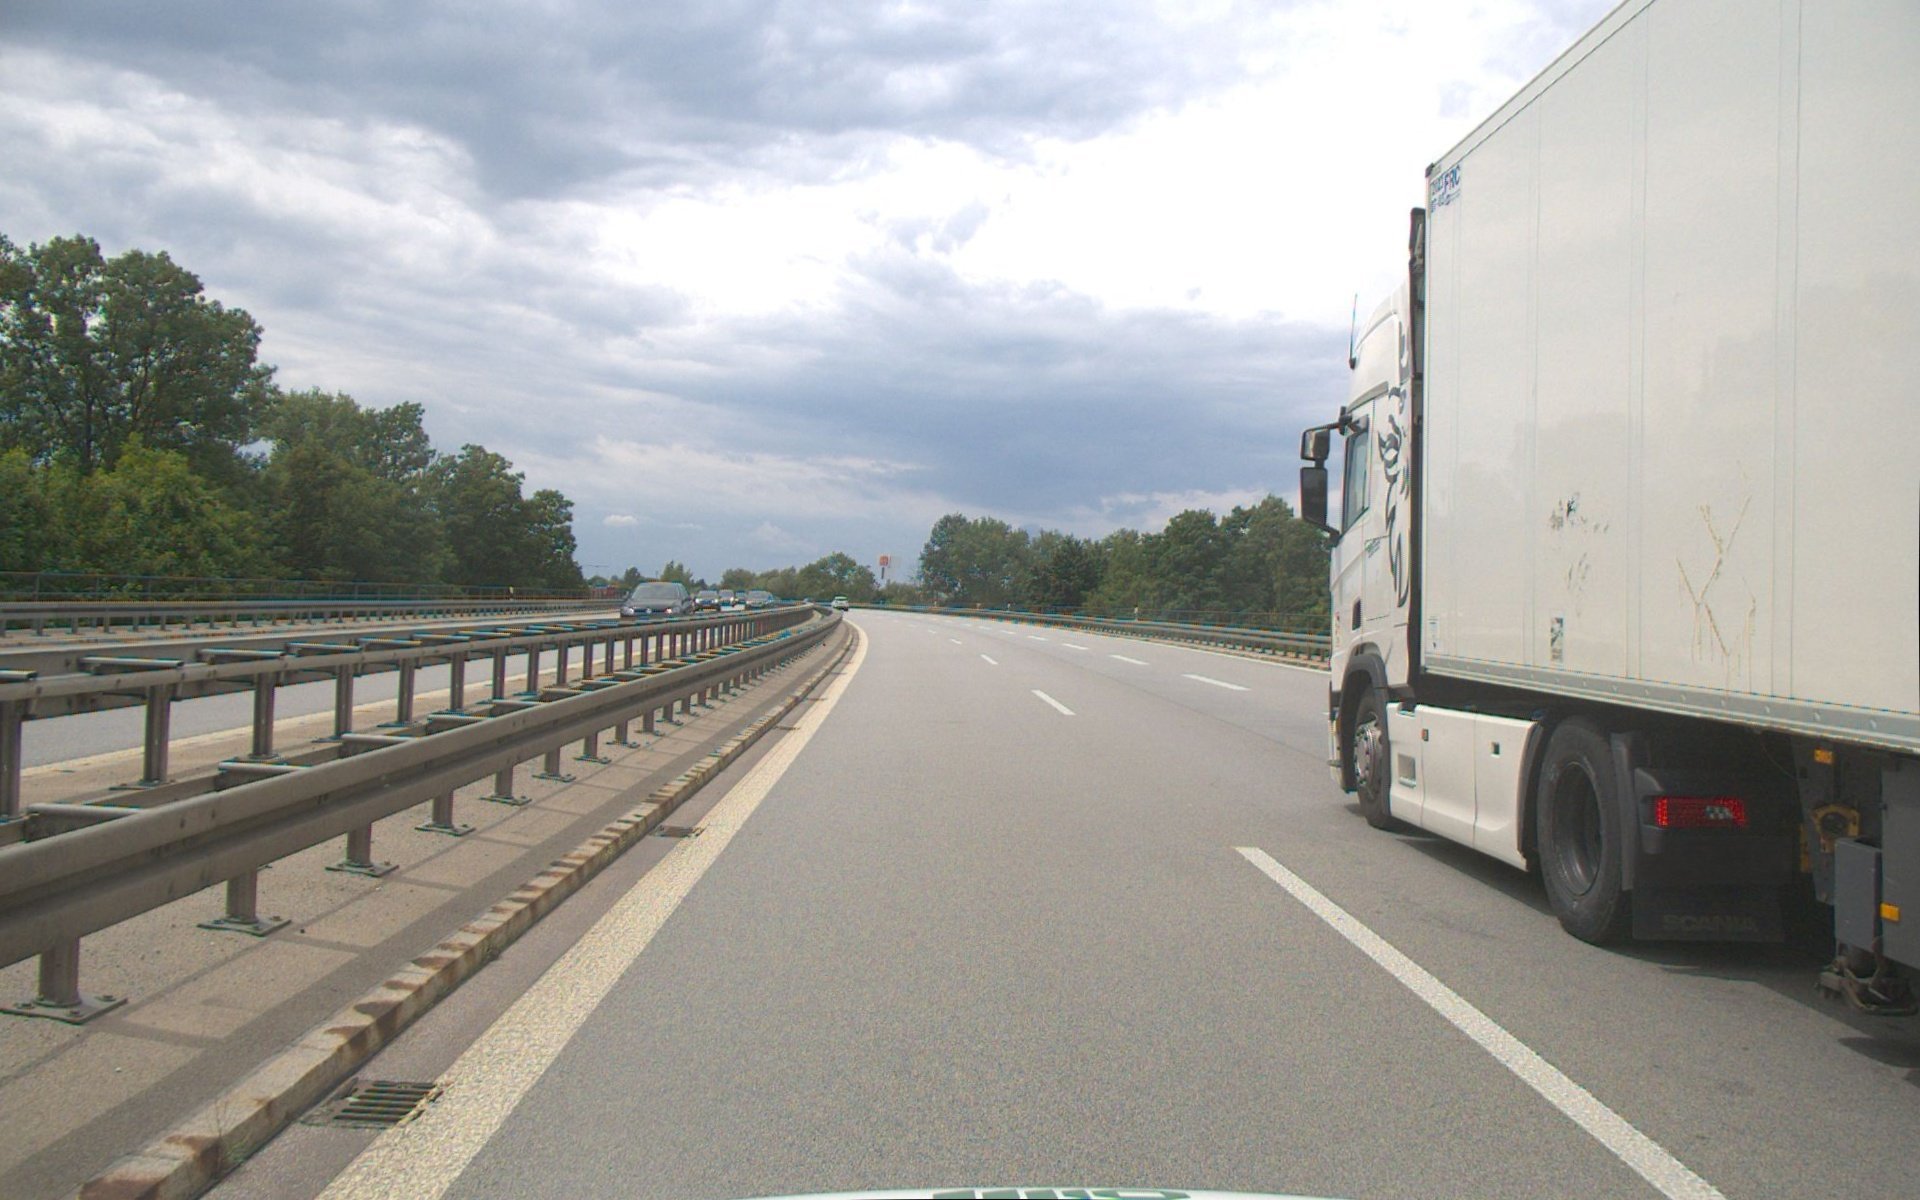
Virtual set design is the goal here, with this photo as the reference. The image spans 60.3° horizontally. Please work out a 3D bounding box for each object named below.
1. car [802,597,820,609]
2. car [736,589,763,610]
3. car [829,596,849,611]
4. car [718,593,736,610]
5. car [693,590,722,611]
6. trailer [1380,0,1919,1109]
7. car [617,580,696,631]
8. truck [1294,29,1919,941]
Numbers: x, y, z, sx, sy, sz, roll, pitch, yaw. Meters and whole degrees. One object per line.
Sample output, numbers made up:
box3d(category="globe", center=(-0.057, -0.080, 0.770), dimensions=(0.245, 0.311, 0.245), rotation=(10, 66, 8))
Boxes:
box3d(category="car", center=(-21.552, 0.426, 239.259), dimensions=(1.861, 1.668, 4.604), rotation=(2, 0, -14))
box3d(category="car", center=(-14.803, -0.041, 116.477), dimensions=(1.619, 1.391, 4.144), rotation=(1, 0, -5))
box3d(category="car", center=(-14.439, 0.425, 197.495), dimensions=(1.868, 1.669, 4.383), rotation=(2, -1, -11))
box3d(category="car", center=(-24.001, 0.134, 170.543), dimensions=(1.620, 1.568, 3.993), rotation=(5, 0, -8))
box3d(category="car", center=(-17.958, 0.050, 117.914), dimensions=(1.704, 1.434, 4.937), rotation=(2, 0, -5))
box3d(category="trailer", center=(4.303, -0.484, 3.689), dimensions=(3.000, 3.958, 13.788), rotation=(1, 0, -1))
box3d(category="car", center=(-8.584, 0.145, 47.094), dimensions=(1.652, 1.400, 4.356), rotation=(0, 0, -3))
box3d(category="truck", center=(4.239, -0.496, 10.251), dimensions=(3.000, 3.960, 5.999), rotation=(1, 0, -1))
